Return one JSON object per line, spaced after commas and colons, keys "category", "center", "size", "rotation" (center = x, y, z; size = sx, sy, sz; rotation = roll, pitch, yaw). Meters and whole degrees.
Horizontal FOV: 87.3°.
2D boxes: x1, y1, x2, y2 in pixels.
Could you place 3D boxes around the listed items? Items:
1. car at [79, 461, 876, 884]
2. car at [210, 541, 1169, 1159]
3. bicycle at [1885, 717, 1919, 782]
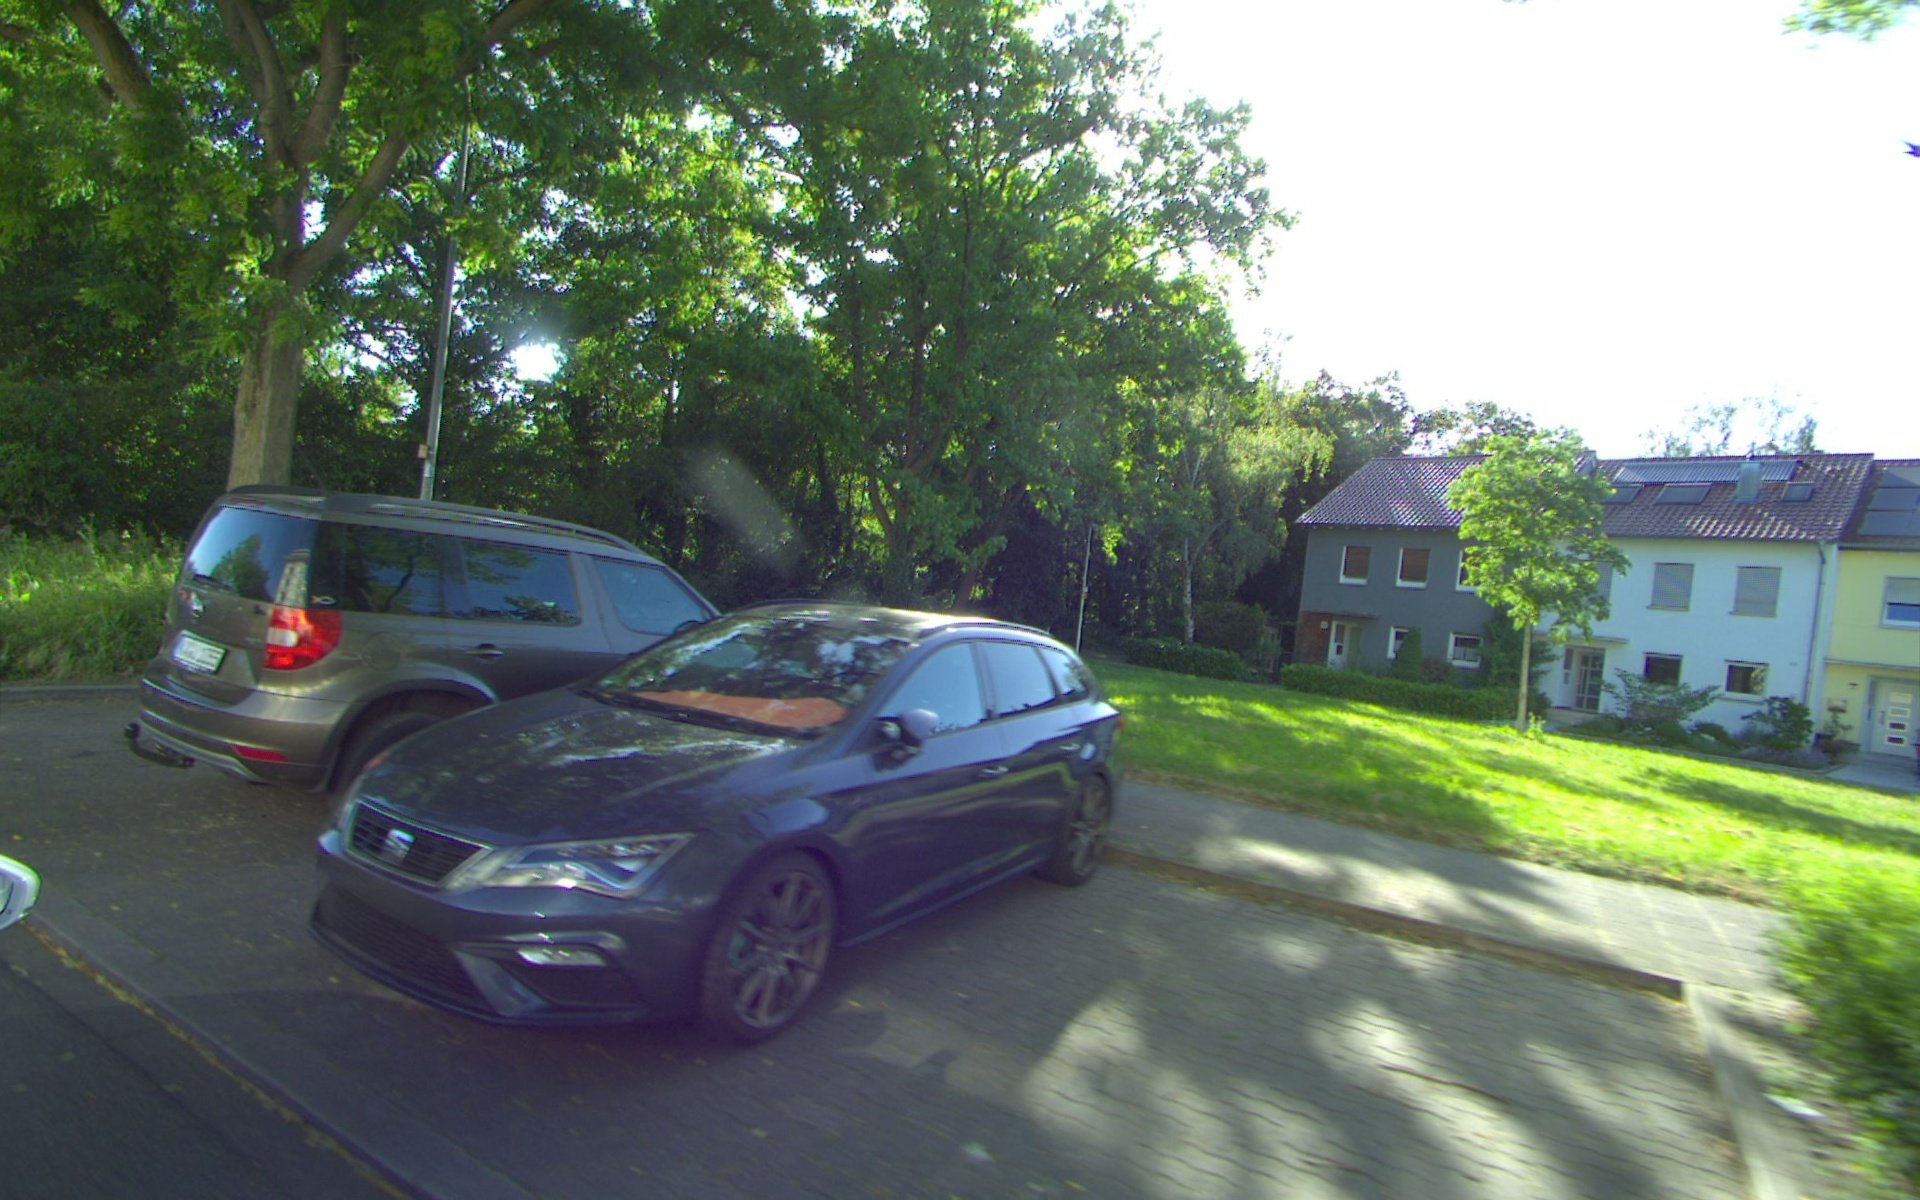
{"category": "car", "center": [-2.571, 0.357, 6.373], "size": [1.746, 1.717, 4.150], "rotation": [7, 1, 33]}
{"category": "car", "center": [-0.619, 0.719, 4.880], "size": [1.745, 1.432, 4.456], "rotation": [7, 1, 30]}
{"category": "bicycle", "center": [23.637, 3.687, 24.603], "size": [0.811, 1.491, 2.914], "rotation": [7, -1, 32]}
